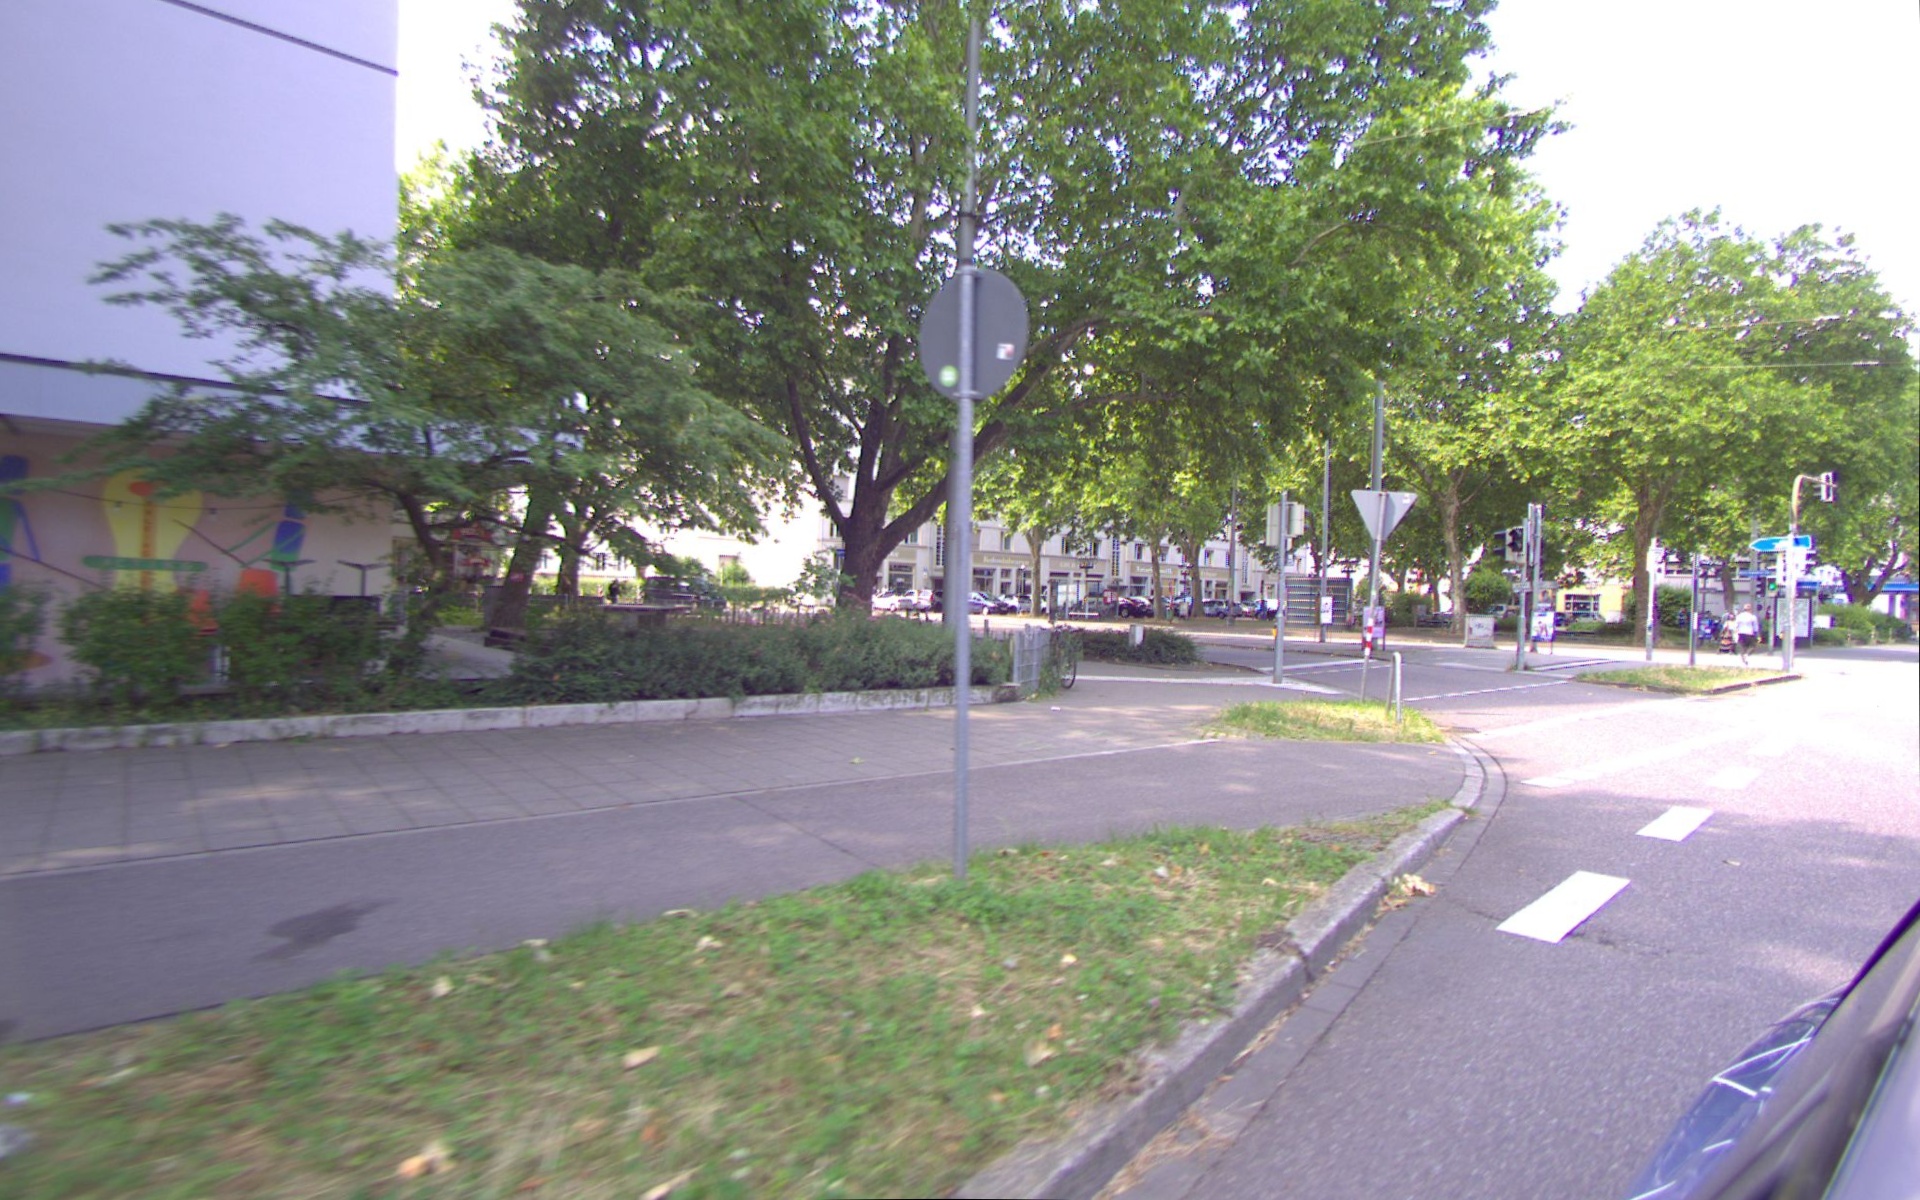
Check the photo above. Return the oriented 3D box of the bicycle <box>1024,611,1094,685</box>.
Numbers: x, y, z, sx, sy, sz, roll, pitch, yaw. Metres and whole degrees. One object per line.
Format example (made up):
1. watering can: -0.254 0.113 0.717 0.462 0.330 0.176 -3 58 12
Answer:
1. bicycle: 1.503 0.709 15.644 0.523 1.022 1.732 2 0 -13

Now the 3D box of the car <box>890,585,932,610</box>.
1. car: -3.613 -0.195 74.380 1.445 1.687 3.060 2 0 -43

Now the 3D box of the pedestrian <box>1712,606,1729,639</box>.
1. pedestrian: 41.503 1.205 55.230 0.600 1.772 0.692 2 0 27

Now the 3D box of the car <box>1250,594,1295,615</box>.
1. car: 32.126 0.454 104.147 1.963 1.989 3.998 1 0 -37

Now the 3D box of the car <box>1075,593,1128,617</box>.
1. car: 9.013 0.318 64.637 3.055 1.406 1.448 2 0 42

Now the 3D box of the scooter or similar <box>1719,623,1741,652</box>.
1. scooter or similar: 29.424 1.414 38.673 0.696 1.069 0.490 2 0 -40

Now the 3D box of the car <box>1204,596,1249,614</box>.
1. car: 25.957 0.468 98.675 1.712 1.657 3.998 1 0 -37

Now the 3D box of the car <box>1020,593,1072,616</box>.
1. car: 5.724 0.302 67.391 3.226 1.406 1.447 2 0 44

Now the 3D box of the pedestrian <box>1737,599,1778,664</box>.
1. pedestrian: 22.840 0.890 28.973 0.870 1.806 0.694 2 0 -38

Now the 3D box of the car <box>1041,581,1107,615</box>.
1. car: 7.749 -0.141 68.963 1.964 2.210 4.254 2 0 -39

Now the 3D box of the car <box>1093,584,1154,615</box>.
1. car: 11.682 -0.064 72.375 1.964 2.102 3.997 2 0 -39

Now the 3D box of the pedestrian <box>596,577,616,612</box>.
1. pedestrian: -15.663 -0.244 44.781 0.659 1.498 0.575 3 -1 -39

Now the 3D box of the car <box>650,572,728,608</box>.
1. car: -14.017 -0.523 52.303 3.719 1.682 1.847 2 1 31

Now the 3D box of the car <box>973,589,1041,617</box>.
1. car: 3.049 0.171 66.548 1.878 1.711 4.532 1 0 -41

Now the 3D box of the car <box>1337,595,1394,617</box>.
1. car: 37.687 0.544 94.154 2.065 1.929 4.489 1 0 -37

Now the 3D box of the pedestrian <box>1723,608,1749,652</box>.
1. pedestrian: 30.064 1.150 39.190 0.906 1.666 0.569 2 0 -40

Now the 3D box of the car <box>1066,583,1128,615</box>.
1. car: 9.587 -0.110 71.092 1.964 2.102 3.997 2 0 -39

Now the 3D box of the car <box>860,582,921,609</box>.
1. car: -5.024 -0.335 72.804 1.879 1.818 4.713 1 0 -42

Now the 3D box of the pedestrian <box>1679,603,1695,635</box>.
1. pedestrian: 40.508 1.056 56.390 0.600 1.772 0.692 2 0 27

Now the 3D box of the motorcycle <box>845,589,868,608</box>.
1. motorcycle: -7.258 -0.130 71.094 0.561 1.259 1.882 2 0 -42

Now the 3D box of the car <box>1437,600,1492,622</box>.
1. car: 45.198 0.982 90.679 1.835 1.823 3.998 1 0 -37

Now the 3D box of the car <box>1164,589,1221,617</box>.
1. car: 18.284 0.232 79.622 1.963 2.039 3.997 1 0 -38

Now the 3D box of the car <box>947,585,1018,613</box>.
1. car: 1.385 -0.089 64.270 1.999 1.620 4.532 1 0 -41

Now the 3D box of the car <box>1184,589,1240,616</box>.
1. car: 20.183 0.201 81.150 1.965 2.039 3.994 1 0 -41

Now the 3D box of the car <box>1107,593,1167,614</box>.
1. car: 13.000 0.255 74.439 1.964 1.440 3.997 2 0 -39

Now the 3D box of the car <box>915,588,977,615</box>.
1. car: -0.909 0.111 68.000 1.784 1.682 4.255 2 1 39
